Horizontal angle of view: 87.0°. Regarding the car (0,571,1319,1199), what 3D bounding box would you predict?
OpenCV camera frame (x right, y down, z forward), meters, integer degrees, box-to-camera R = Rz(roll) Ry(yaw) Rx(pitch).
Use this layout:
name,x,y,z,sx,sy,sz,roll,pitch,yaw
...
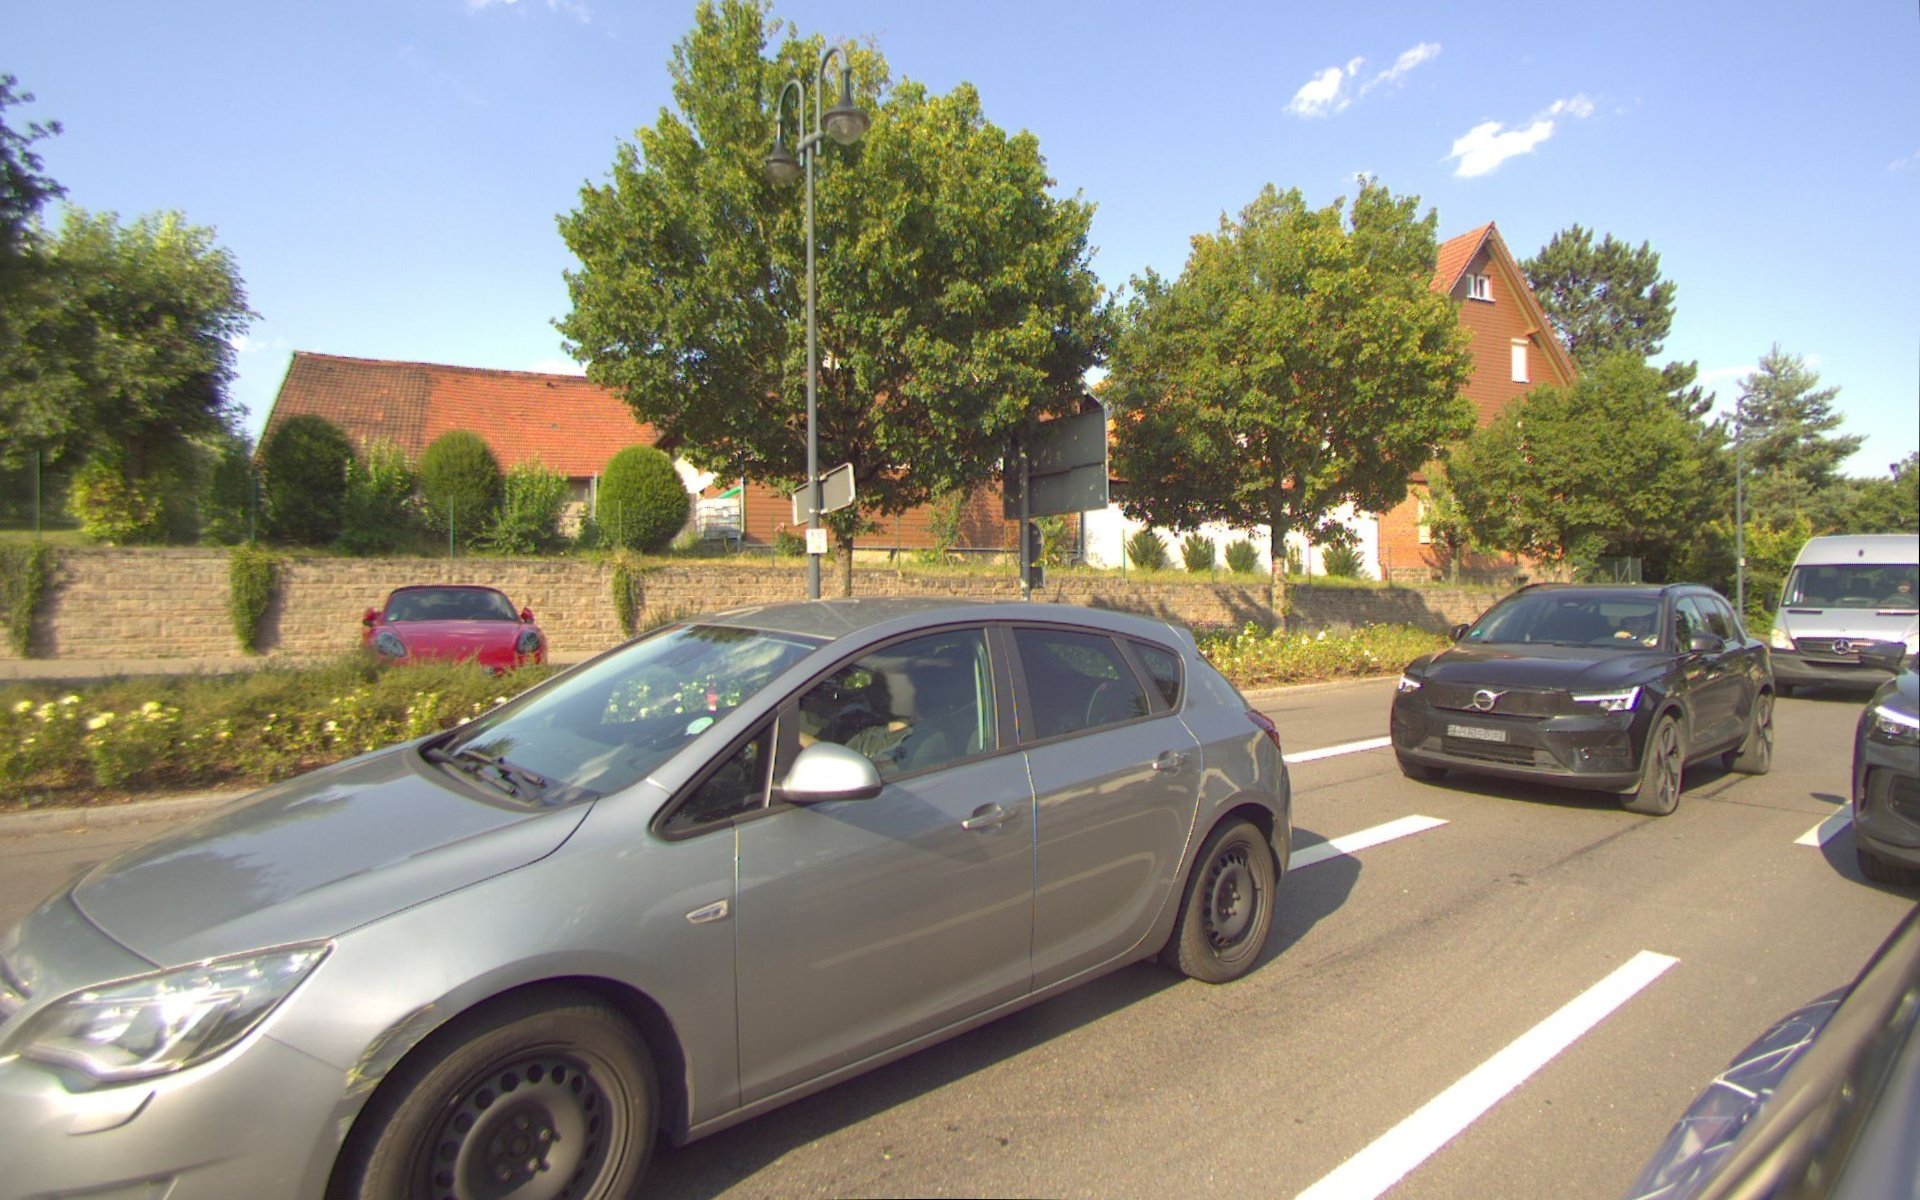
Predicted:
name,x,y,z,sx,sy,sz,roll,pitch,yaw
car,-0.615,0.672,3.484,4.095,1.460,1.746,0,0,-41

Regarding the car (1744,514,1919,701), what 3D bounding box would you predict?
name,x,y,z,sx,sy,sz,roll,pitch,yaw
car,15.062,0.084,16.521,6.082,2.579,2.369,0,0,-40

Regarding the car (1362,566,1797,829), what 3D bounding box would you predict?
name,x,y,z,sx,sy,sz,roll,pitch,yaw
car,5.220,0.592,8.327,4.054,1.629,1.885,0,0,-40

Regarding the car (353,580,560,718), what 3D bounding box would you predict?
name,x,y,z,sx,sy,sz,roll,pitch,yaw
car,-5.799,0.450,11.666,1.816,1.288,4.005,0,0,-28

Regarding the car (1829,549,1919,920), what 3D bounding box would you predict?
name,x,y,z,sx,sy,sz,roll,pitch,yaw
car,6.507,0.602,5.589,4.646,1.677,1.893,0,0,-40
